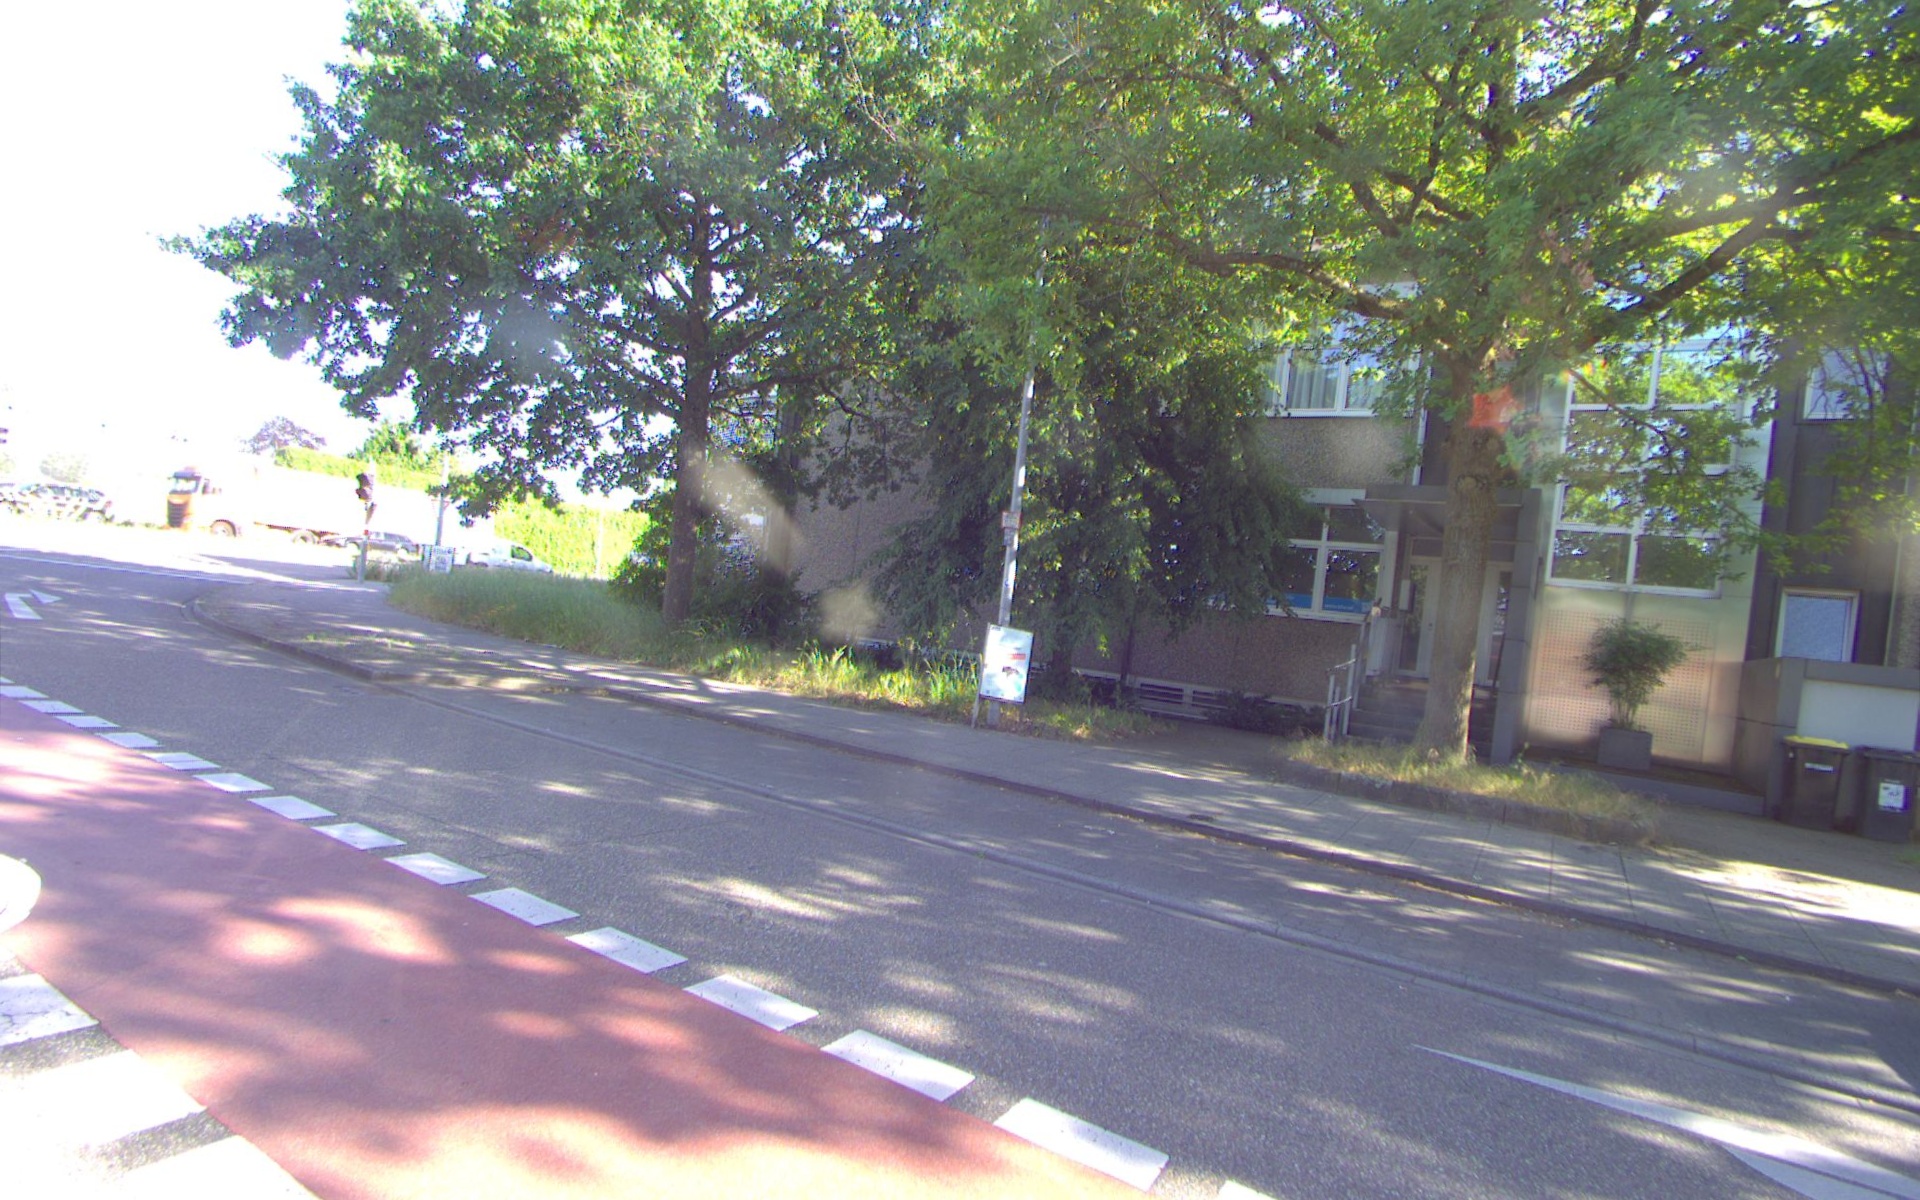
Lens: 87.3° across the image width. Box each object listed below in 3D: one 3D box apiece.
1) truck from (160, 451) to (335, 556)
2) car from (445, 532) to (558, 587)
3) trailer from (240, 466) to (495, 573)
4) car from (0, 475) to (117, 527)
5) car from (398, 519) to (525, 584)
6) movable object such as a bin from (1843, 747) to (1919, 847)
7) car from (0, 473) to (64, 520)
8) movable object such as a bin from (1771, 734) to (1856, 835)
[{"bbox_3d":[-35.074,-4.654,49.797,2.429,4.047,6.415,7,0,25],"label":"truck"},{"bbox_3d":[-19.482,-1.678,42.922,1.435,1.823,4.112,6,-1,36],"label":"car"},{"bbox_3d":[-32.269,-4.189,55.873,2.426,4.079,12.768,7,-1,25],"label":"trailer"},{"bbox_3d":[-33.859,-3.690,36.873,1.548,1.317,4.170,6,-2,28],"label":"car"},{"bbox_3d":[-13.837,-1.305,28.122,1.433,1.311,3.412,7,-2,7],"label":"car"},{"bbox_3d":[10.783,2.279,11.708,0.566,1.019,0.629,6,-1,31],"label":"movable object such as a bin"},{"bbox_3d":[-37.197,-4.149,38.465,1.538,1.458,3.999,6,-2,26],"label":"car"},{"bbox_3d":[10.194,2.184,12.040,0.571,1.045,0.713,7,0,31],"label":"movable object such as a bin"}]
